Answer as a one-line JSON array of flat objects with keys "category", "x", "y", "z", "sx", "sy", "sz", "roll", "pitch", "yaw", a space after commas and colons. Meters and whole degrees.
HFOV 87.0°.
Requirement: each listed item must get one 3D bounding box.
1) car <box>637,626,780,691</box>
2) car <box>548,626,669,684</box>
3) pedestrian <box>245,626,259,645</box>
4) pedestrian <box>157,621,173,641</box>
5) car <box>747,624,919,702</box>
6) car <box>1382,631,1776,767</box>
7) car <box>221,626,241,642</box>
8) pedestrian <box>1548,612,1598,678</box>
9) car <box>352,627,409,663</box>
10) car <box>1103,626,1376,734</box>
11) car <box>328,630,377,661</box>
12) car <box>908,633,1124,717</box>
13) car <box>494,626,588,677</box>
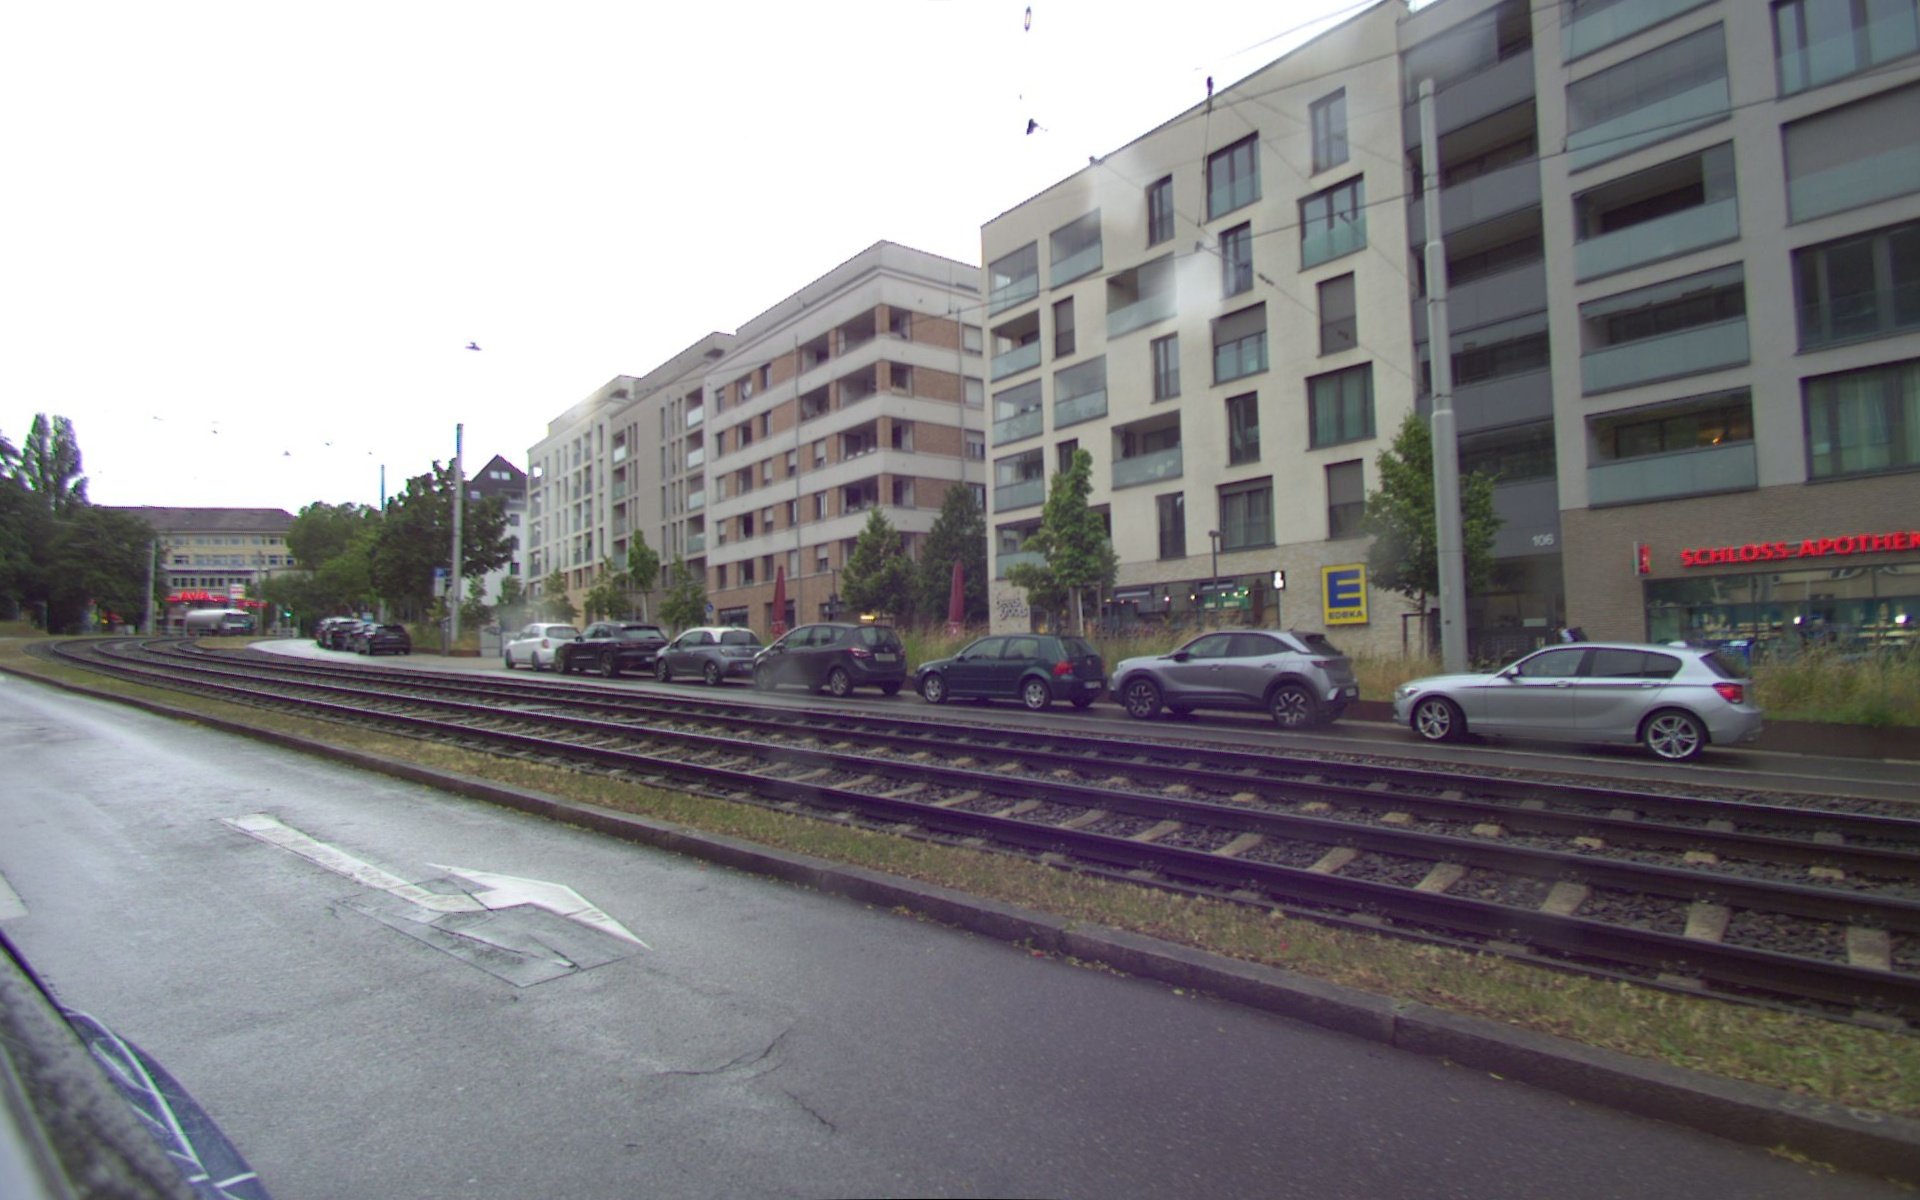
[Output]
[{"category": "car", "x": -6.632, "y": 1.464, "z": 26.494, "sx": 3.926, "sy": 1.516, "sz": 1.663, "roll": -1, "pitch": -1, "yaw": 40}, {"category": "car", "x": -10.388, "y": 1.546, "z": 29.748, "sx": 1.660, "sy": 1.516, "sz": 4.408, "roll": 0, "pitch": -1, "yaw": -44}, {"category": "pedestrian", "x": -65.720, "y": 3.291, "z": 93.923, "sx": 0.804, "sy": 1.777, "sz": 0.751, "roll": 3, "pitch": -4, "yaw": -26}, {"category": "pedestrian", "x": -72.830, "y": 2.840, "z": 92.684, "sx": 0.805, "sy": 1.777, "sz": 0.750, "roll": 2, "pitch": -4, "yaw": -10}, {"category": "car", "x": -2.921, "y": 1.344, "z": 22.911, "sx": 3.926, "sy": 1.575, "sz": 1.663, "roll": -1, "pitch": -1, "yaw": 40}, {"category": "car", "x": 8.182, "y": 1.192, "z": 13.622, "sx": 4.326, "sy": 1.475, "sz": 1.663, "roll": -1, "pitch": -1, "yaw": 40}, {"category": "car", "x": -81.127, "y": 3.755, "z": 112.658, "sx": 1.641, "sy": 1.619, "sz": 3.818, "roll": -1, "pitch": 0, "yaw": -34}, {"category": "pedestrian", "x": 14.146, "y": 1.025, "z": 23.355, "sx": 0.647, "sy": 1.460, "sz": 0.805, "roll": -1, "pitch": 0, "yaw": -37}, {"category": "car", "x": -27.037, "y": 2.059, "z": 47.171, "sx": 1.630, "sy": 1.475, "sz": 3.676, "roll": -1, "pitch": 0, "yaw": -40}, {"category": "car", "x": 4.553, "y": 1.227, "z": 16.759, "sx": 4.042, "sy": 1.541, "sz": 1.665, "roll": -1, "pitch": -1, "yaw": 36}, {"category": "car", "x": -32.048, "y": 2.356, "z": 53.378, "sx": 1.630, "sy": 1.475, "sz": 3.676, "roll": -1, "pitch": 0, "yaw": -40}, {"category": "car", "x": 1.013, "y": 1.371, "z": 19.697, "sx": 4.030, "sy": 1.391, "sz": 1.663, "roll": -1, "pitch": -1, "yaw": 40}, {"category": "car", "x": -13.812, "y": 1.645, "z": 33.280, "sx": 1.627, "sy": 1.516, "sz": 3.784, "roll": 0, "pitch": -1, "yaw": -44}]
